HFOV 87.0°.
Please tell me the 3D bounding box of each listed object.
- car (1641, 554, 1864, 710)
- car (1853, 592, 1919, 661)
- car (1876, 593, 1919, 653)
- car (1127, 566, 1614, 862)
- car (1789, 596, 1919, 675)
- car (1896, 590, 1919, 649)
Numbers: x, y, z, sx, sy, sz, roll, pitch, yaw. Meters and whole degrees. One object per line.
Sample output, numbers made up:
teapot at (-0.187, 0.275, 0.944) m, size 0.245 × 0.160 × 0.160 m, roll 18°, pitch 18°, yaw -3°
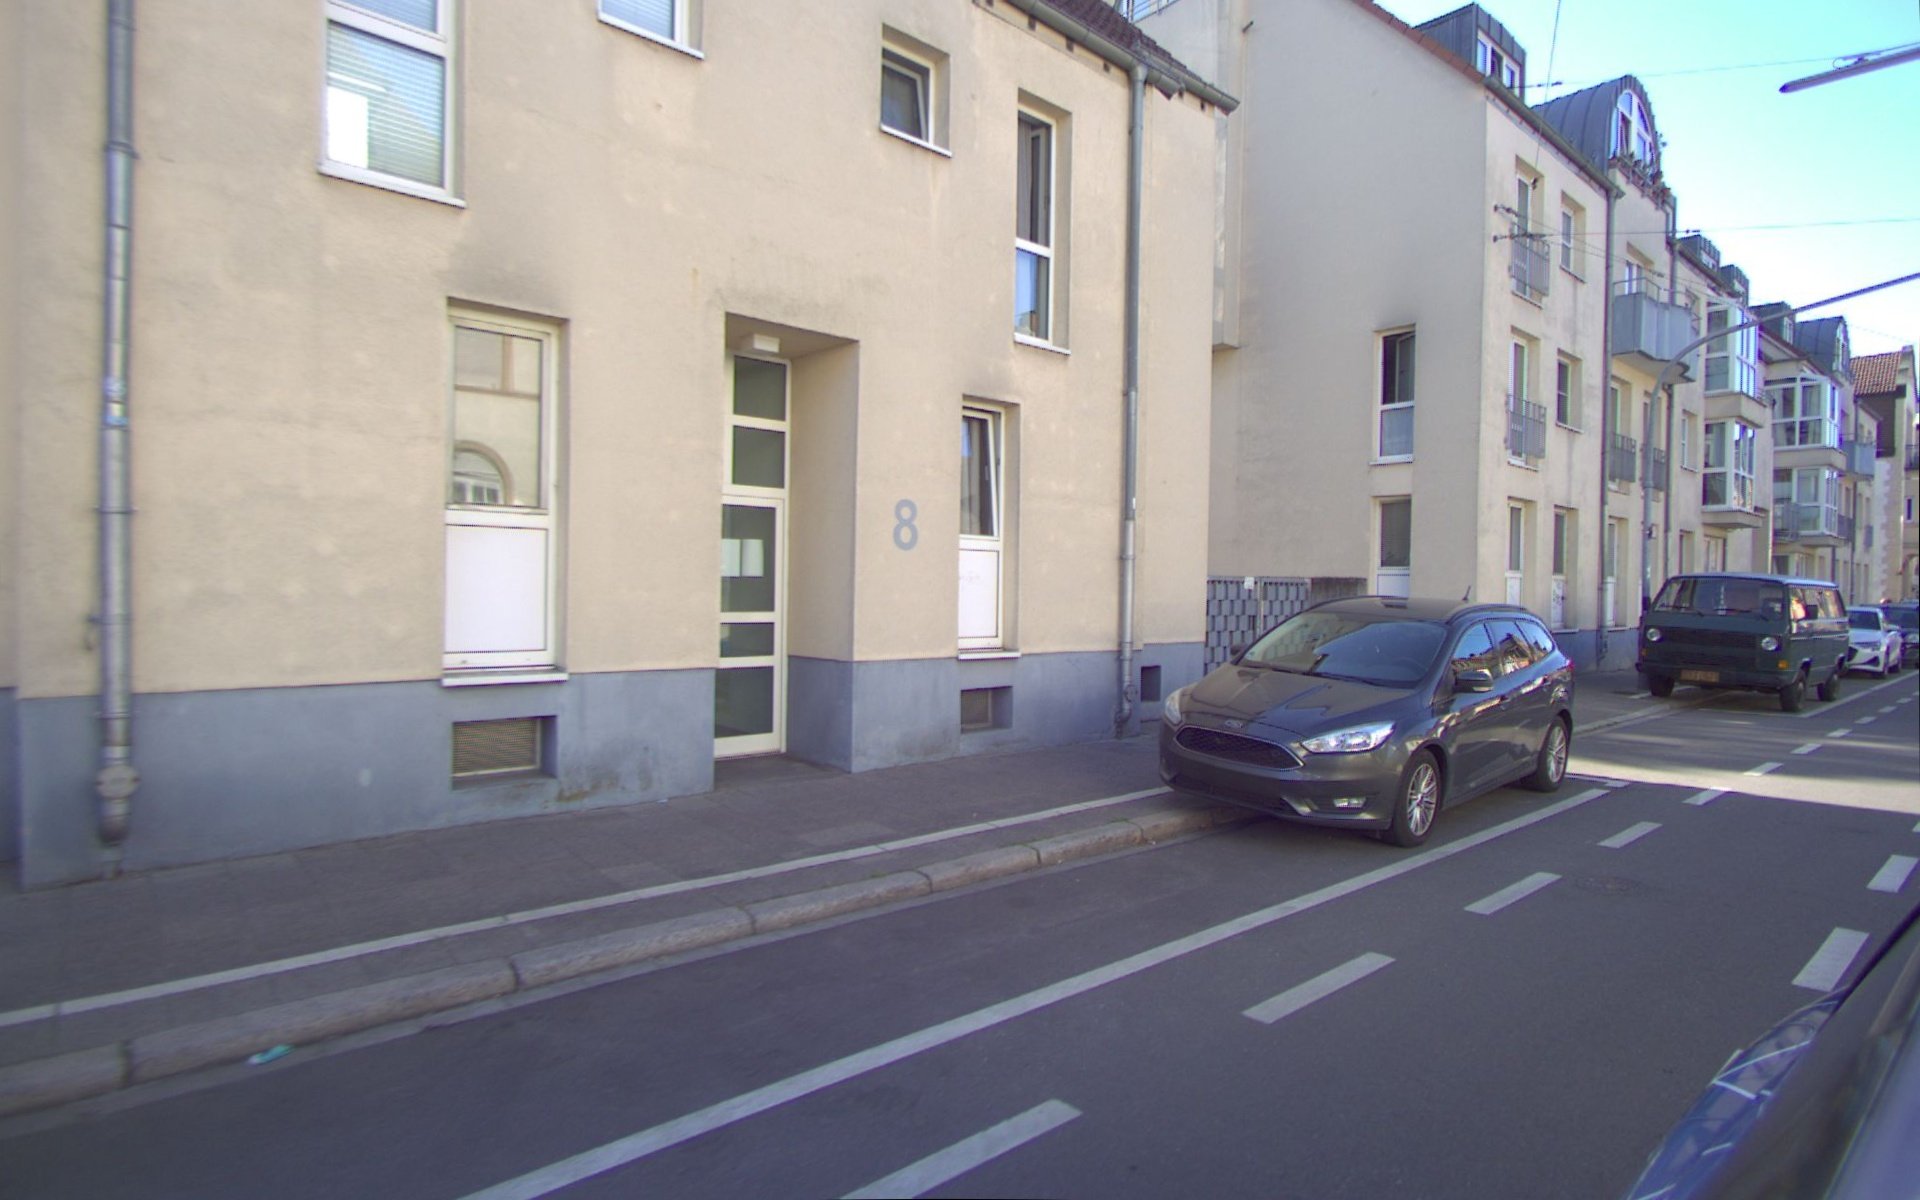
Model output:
car at (12.096, 0.420, 15.337) m, size 4.484 × 2.012 × 1.908 m, roll 0°, pitch -1°, yaw -42°
car at (23.040, 0.610, 24.614) m, size 3.589 × 1.577 × 1.556 m, roll 0°, pitch -1°, yaw -42°
car at (26.244, 0.597, 27.615) m, size 3.307 × 1.577 × 1.498 m, roll 0°, pitch -1°, yaw -42°
car at (3.307, 0.627, 7.668) m, size 4.358 × 1.619 × 1.746 m, roll 0°, pitch -1°, yaw -43°
car at (18.964, 0.683, 21.341) m, size 4.100 × 1.510 × 1.679 m, roll 0°, pitch -1°, yaw -42°
car at (29.717, 0.574, 30.626) m, size 3.919 × 1.721 × 1.605 m, roll 0°, pitch -1°, yaw -41°
